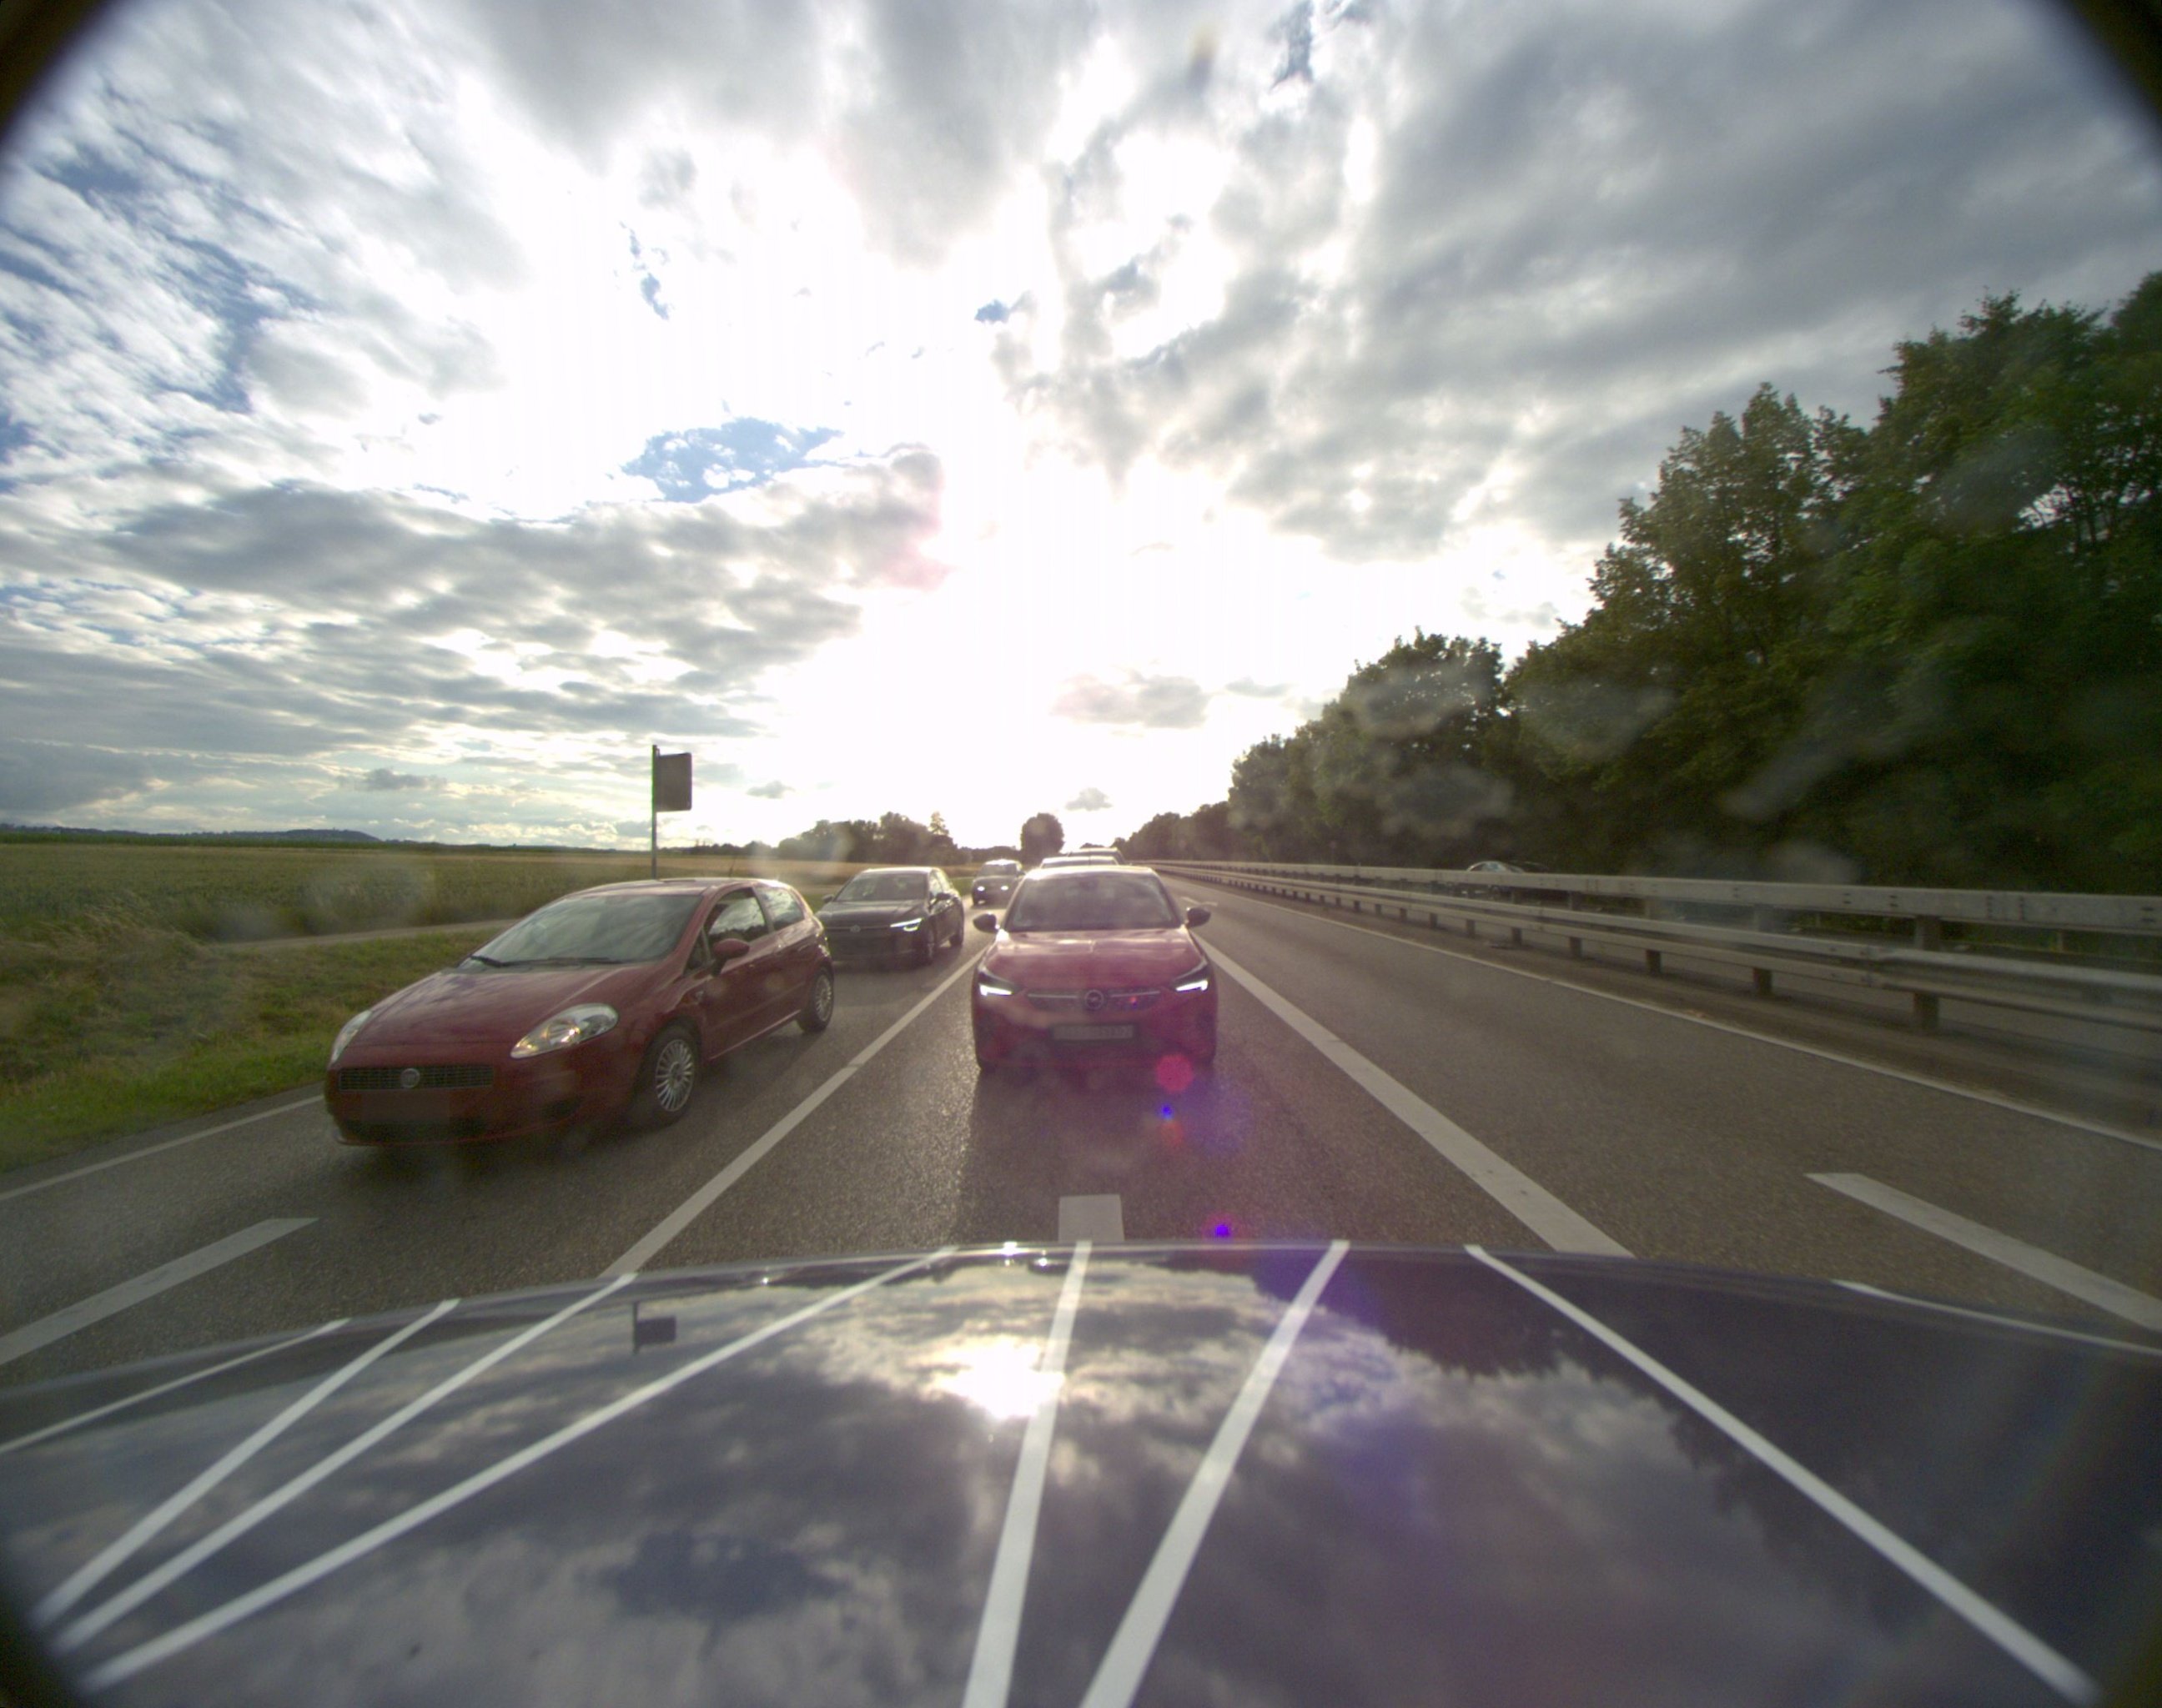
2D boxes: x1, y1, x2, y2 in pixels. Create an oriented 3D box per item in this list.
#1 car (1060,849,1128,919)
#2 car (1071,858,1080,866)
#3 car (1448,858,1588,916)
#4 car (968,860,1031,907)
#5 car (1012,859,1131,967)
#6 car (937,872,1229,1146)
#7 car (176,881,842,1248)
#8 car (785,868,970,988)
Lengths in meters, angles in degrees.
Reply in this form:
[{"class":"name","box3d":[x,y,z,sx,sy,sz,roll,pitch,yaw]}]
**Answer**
[{"class":"car","box3d":[0.364,0.758,21.484,1.671,1.730,4.032,-2,1,1]},{"class":"car","box3d":[-1.252,1.763,163.797,1.751,1.550,3.731,-2,1,1]},{"class":"car","box3d":[13.275,0.944,23.443,1.920,1.448,4.373,-2,1,2]},{"class":"car","box3d":[-2.930,1.027,28.101,1.799,1.448,4.032,-2,1,1]},{"class":"car","box3d":[-0.109,0.890,13.273,1.712,1.448,4.061,-2,1,1]},{"class":"car","box3d":[0.042,0.993,6.636,1.712,1.448,4.061,-2,1,1]},{"class":"car","box3d":[-3.247,1.045,5.454,1.712,1.448,3.908,-2,1,1]},{"class":"car","box3d":[-3.053,1.044,12.317,1.799,1.448,4.032,-2,1,1]}]
